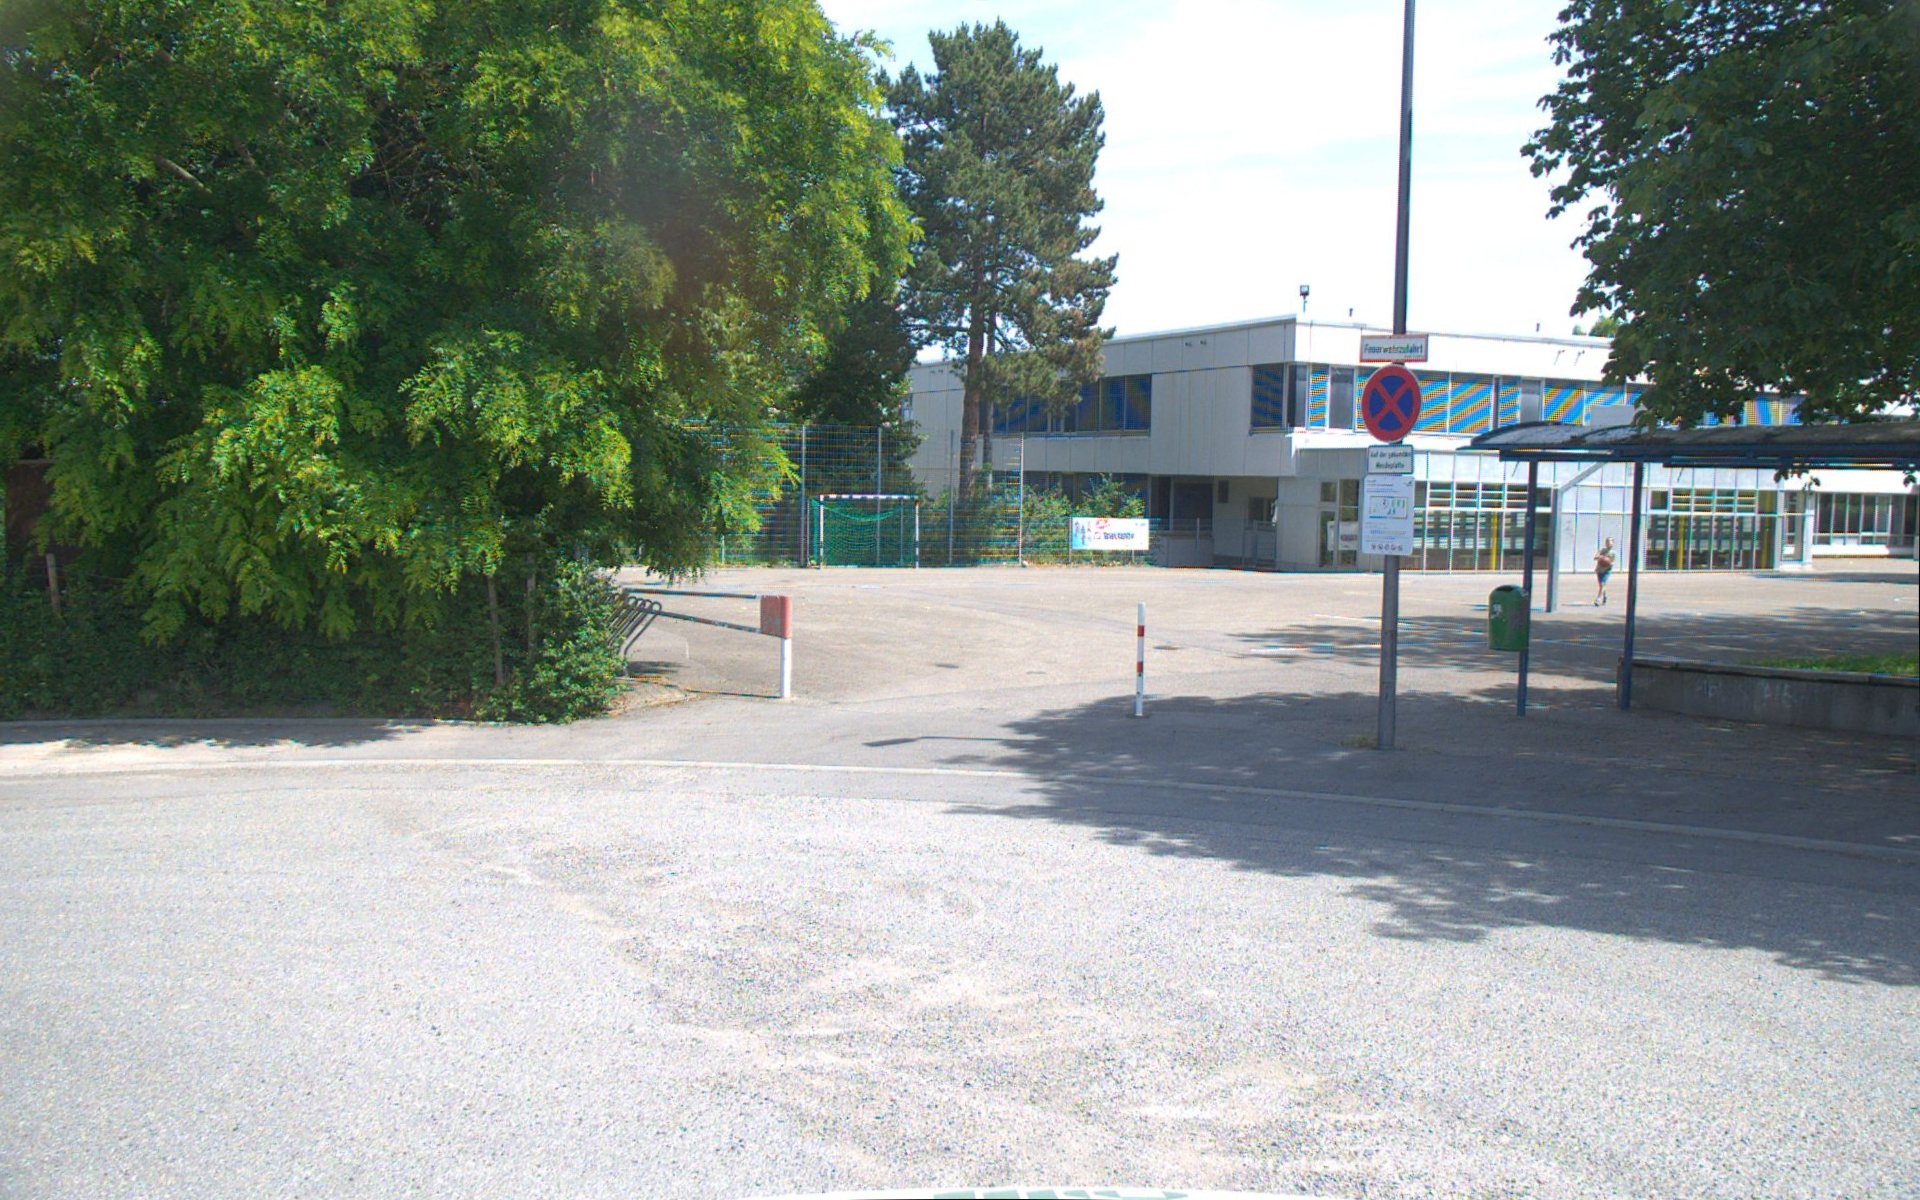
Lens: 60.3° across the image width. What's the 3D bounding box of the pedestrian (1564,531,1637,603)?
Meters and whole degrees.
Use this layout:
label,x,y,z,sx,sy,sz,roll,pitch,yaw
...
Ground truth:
label,x,y,z,sx,sy,sz,roll,pitch,yaw
pedestrian,13.313,-0.689,34.391,1.054,1.448,0.911,0,3,-29
